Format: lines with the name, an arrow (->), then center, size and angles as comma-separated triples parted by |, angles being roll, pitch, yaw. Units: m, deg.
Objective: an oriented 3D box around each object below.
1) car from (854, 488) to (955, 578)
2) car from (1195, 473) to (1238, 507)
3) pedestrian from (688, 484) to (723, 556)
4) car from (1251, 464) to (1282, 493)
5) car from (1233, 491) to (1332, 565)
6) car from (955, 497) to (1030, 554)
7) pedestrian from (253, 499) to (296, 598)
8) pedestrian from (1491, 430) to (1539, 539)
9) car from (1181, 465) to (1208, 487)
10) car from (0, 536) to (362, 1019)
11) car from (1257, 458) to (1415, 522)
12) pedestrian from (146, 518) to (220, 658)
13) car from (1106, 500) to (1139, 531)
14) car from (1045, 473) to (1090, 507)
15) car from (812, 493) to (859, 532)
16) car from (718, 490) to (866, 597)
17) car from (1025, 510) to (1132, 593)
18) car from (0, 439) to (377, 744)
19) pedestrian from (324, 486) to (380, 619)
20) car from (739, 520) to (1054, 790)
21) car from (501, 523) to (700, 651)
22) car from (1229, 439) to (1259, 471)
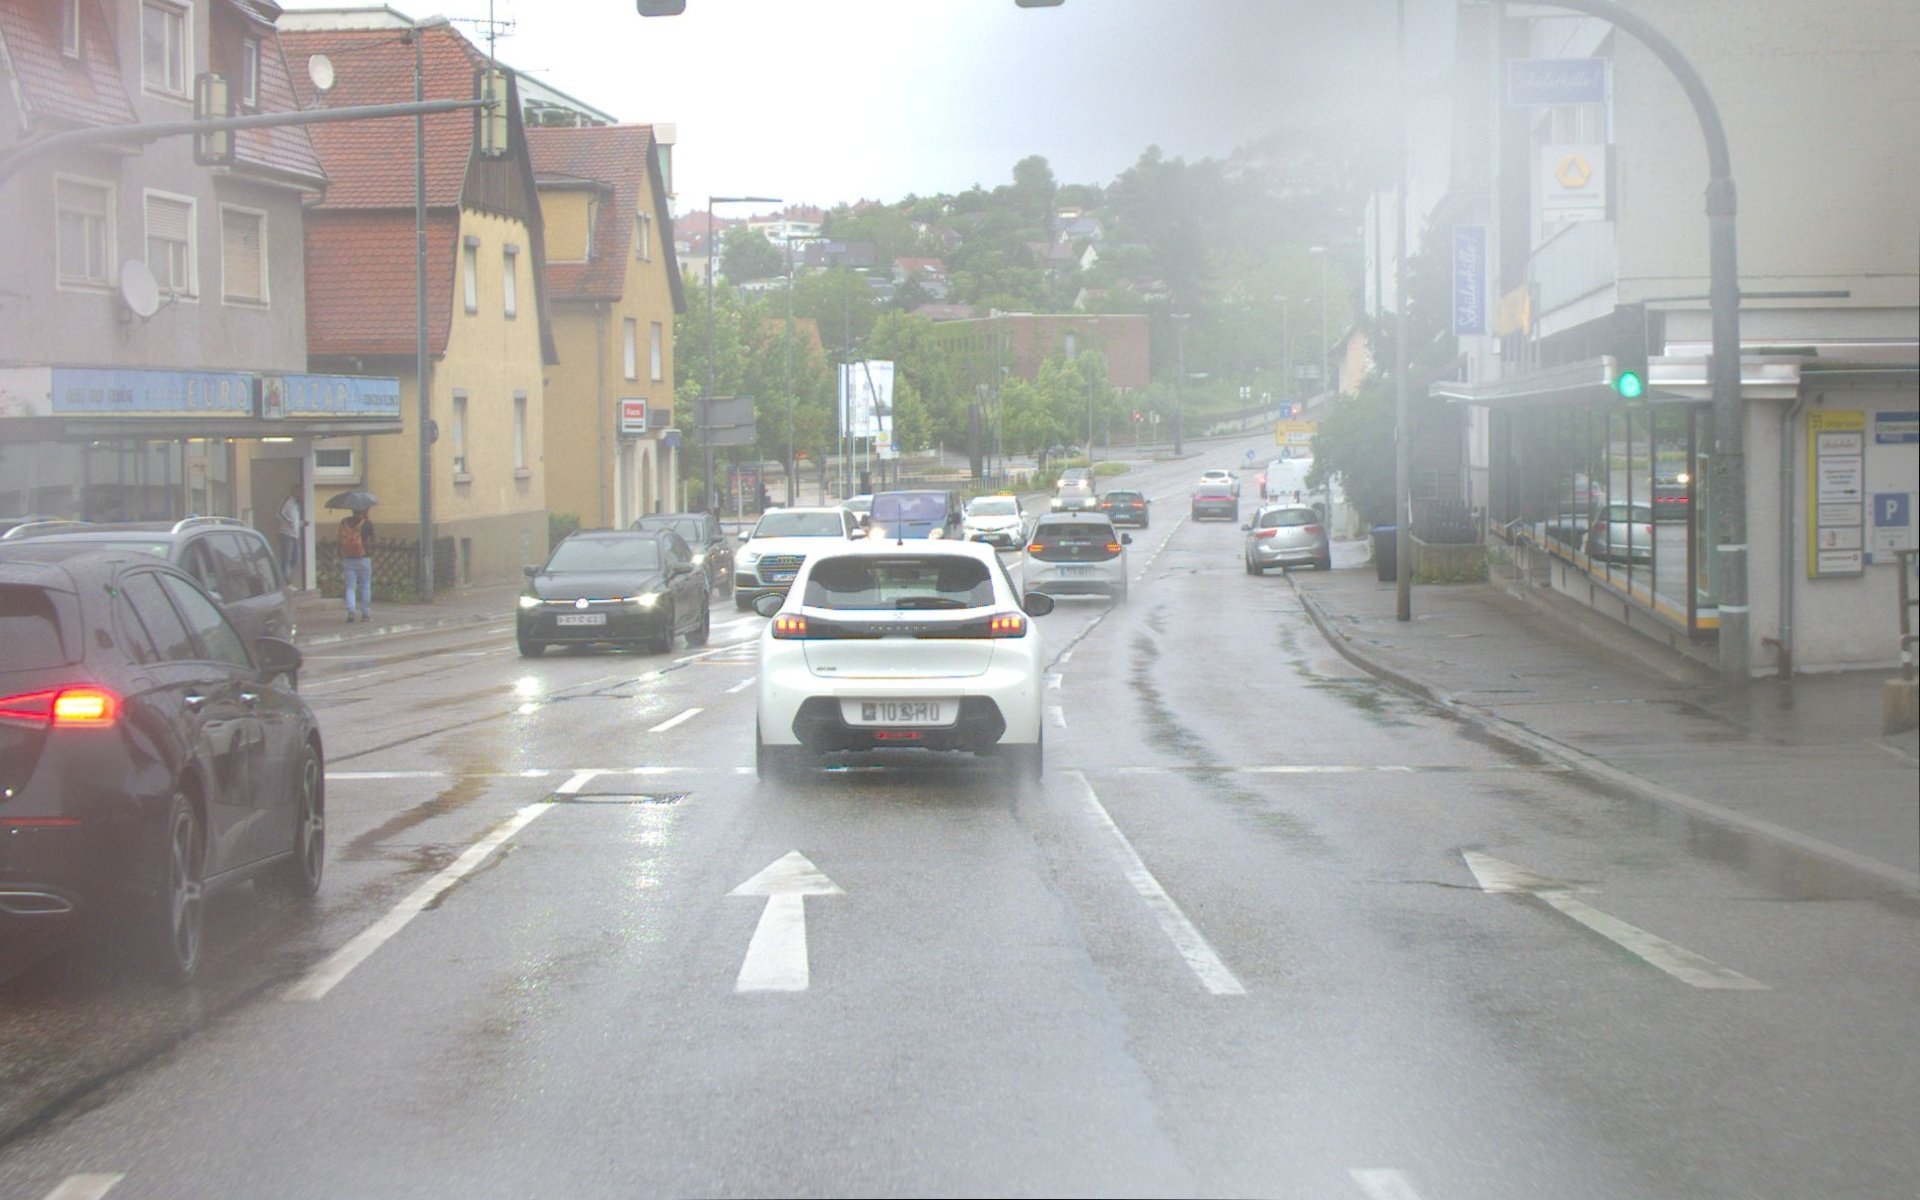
car -> -1.222, -1.517, 78.023 | 1.966, 1.931, 5.179 | -1, 1, 2
car -> 10.672, -4.568, 143.348 | 1.734, 1.383, 3.352 | 0, 2, 3
pedestrian -> -6.333, -1.987, 85.600 | 0.800, 1.782, 0.882 | -1, 1, -3
car -> 16.912, -6.691, 189.659 | 1.648, 1.480, 3.366 | -1, 1, 4
car -> 7.342, -1.626, 78.524 | 2.011, 1.616, 4.360 | 0, 0, 2
car -> 0.983, -2.200, 101.175 | 1.878, 1.603, 4.718 | -1, 1, 4
pedestrian -> -10.878, -0.815, 54.551 | 0.543, 1.552, 0.446 | -1, 1, 5
pedestrian -> 9.130, -1.907, 56.538 | 0.729, 1.774, 0.952 | 0, 3, 12
car -> 12.885, -6.814, 188.721 | 1.385, 1.122, 2.610 | -1, 1, 5
car -> -3.340, 0.510, 12.430 | 1.715, 1.445, 4.199 | -1, 1, -2
car -> 14.498, -4.234, 132.186 | 6.607, 2.374, 2.297 | -2, 1, -44
pedestrian -> -7.844, -0.126, 34.722 | 0.579, 1.390, 0.561 | -1, 1, 2
car -> 6.069, -3.160, 128.563 | 1.213, 1.152, 2.270 | -1, 1, 2
car -> 4.715, -4.815, 150.808 | 1.768, 1.409, 4.525 | -1, 1, 4
car -> -4.335, -3.046, 119.918 | 1.370, 1.309, 3.042 | -1, 1, 2
car -> -2.831, -0.978, 58.997 | 2.098, 1.706, 4.849 | -1, 1, 2
car -> 2.004, -0.850, 58.637 | 1.741, 1.291, 3.334 | -1, 2, 2
car -> -5.627, -0.095, 25.025 | 1.634, 2.007, 4.284 | -1, 1, 5
pedestrian -> -8.893, -0.700, 50.288 | 0.661, 1.914, 0.947 | 1, 1, -3
car -> -0.308, 0.285, 21.507 | 1.691, 1.514, 3.933 | -1, 1, 3
car -> -4.287, -0.189, 41.600 | 1.758, 1.429, 4.380 | -1, 1, 2
car -> 19.114, -9.725, 231.382 | 1.994, 2.007, 4.000 | -1, 1, 5
